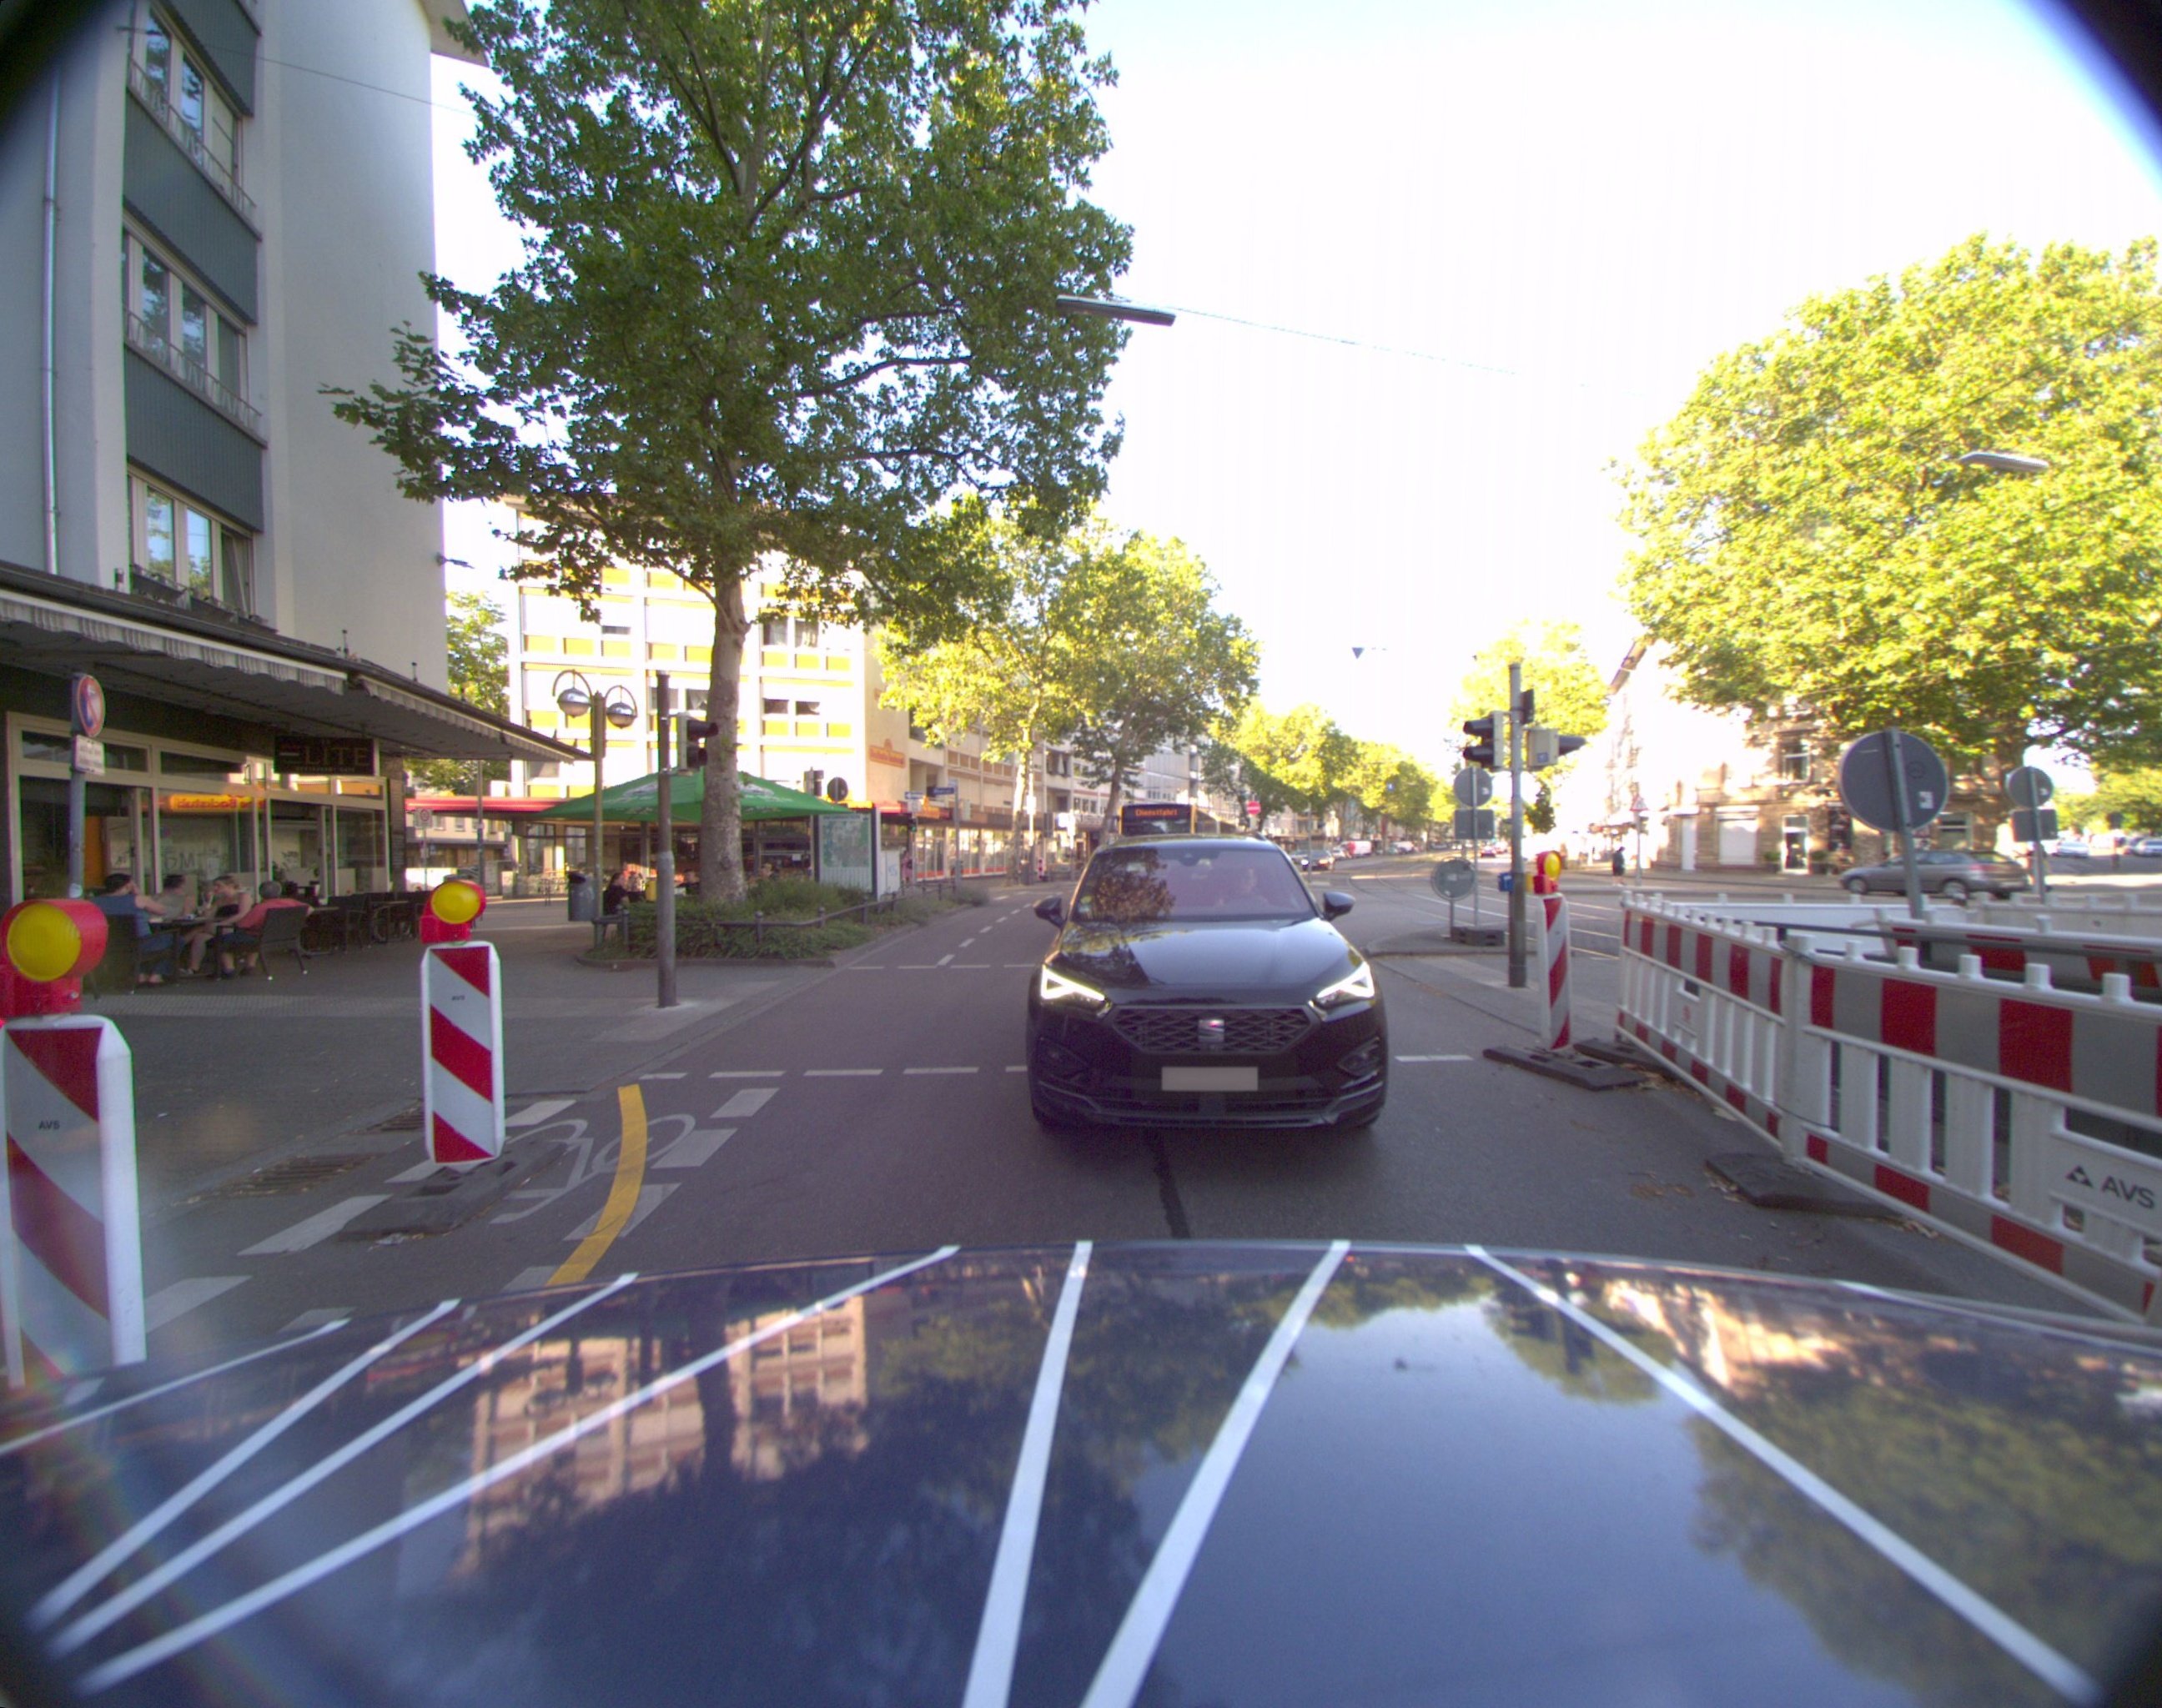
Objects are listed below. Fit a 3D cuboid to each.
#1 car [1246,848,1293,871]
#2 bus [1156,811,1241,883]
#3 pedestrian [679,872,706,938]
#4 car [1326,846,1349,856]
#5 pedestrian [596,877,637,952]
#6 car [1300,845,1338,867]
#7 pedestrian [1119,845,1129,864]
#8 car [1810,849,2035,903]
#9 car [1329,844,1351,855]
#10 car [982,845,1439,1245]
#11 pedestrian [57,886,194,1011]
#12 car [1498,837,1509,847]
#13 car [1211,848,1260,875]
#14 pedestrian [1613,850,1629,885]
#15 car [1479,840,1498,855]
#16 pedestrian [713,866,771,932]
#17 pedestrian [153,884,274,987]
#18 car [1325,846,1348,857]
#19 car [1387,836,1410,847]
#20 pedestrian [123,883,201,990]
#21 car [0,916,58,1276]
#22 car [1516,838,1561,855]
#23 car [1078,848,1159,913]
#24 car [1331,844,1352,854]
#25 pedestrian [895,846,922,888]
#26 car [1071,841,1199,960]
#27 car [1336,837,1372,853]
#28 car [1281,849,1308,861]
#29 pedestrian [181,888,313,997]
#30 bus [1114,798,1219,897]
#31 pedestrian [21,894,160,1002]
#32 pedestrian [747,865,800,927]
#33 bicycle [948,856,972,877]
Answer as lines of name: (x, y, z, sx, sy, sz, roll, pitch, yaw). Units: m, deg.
car: (13.712, 0.369, 55.008, 1.952, 1.541, 4.765, 0, 2, 31)
bus: (6.061, -0.347, 37.741, 2.749, 3.085, 9.508, 0, 1, 17)
pedestrian: (-7.414, 0.957, 14.496, 0.433, 1.212, 0.467, 0, 1, -29)
car: (34.055, -0.423, 100.949, 2.627, 1.274, 1.201, -1, 2, 3)
pedestrian: (-7.837, 1.009, 12.816, 0.469, 1.212, 0.431, -2, 1, -44)
car: (17.392, 0.129, 55.330, 1.952, 1.467, 4.764, 0, 2, 26)
pedestrian: (3.678, 0.028, 64.732, 0.658, 1.632, 0.660, 0, 1, 26)
car: (24.328, 0.553, 22.176, 1.887, 1.401, 3.992, -1, 1, -22)
car: (35.462, -0.635, 104.232, 2.627, 1.380, 1.201, -1, 2, 3)
car: (0.681, 0.798, 5.323, 1.848, 1.648, 4.300, -2, 0, 4)
pedestrian: (-10.223, 0.981, 8.161, 0.651, 1.244, 0.716, 0, 0, -24)
car: (89.130, -2.541, 160.243, 1.903, 1.893, 4.007, 0, 1, 29)
car: (9.472, 0.407, 46.341, 1.908, 1.467, 4.425, 0, 2, 26)
pedestrian: (20.198, 0.490, 28.425, 0.365, 1.301, 0.402, 0, 1, 18)
car: (53.575, -0.893, 99.816, 1.994, 1.856, 4.007, 0, 1, 31)
pedestrian: (-6.812, 0.884, 15.273, 0.718, 1.278, 0.769, -1, 1, 14)
pedestrian: (-10.695, 0.983, 9.392, 0.666, 1.211, 0.717, 0, 0, -5)
car: (32.906, -0.335, 97.848, 2.627, 1.274, 1.201, -1, 2, 3)
car: (64.321, -2.516, 153.877, 4.000, 2.002, 1.879, -1, 1, -8)
pedestrian: (-11.246, 0.984, 9.304, 0.519, 1.236, 0.553, 0, 0, 34)
car: (-5.152, 0.989, 1.437, 1.623, 1.457, 3.604, 2, 0, -2)
car: (52.209, -0.864, 86.707, 3.999, 1.904, 1.998, -1, 1, -7)
car: (1.099, 0.618, 20.162, 1.743, 1.492, 4.301, -2, 0, 7)
car: (36.709, -0.680, 107.056, 2.627, 1.338, 1.201, -1, 2, 3)
pedestrian: (-7.319, 0.533, 32.315, 0.748, 1.747, 0.903, 0, 1, 17)
car: (0.967, 0.637, 12.798, 1.743, 1.630, 4.300, -2, 0, 6)
car: (40.636, -1.343, 113.127, 4.868, 2.362, 1.878, -1, 2, -10)
car: (23.922, 0.124, 85.034, 2.629, 1.209, 1.200, -1, 2, -6)
pedestrian: (-9.850, 1.016, 9.012, 0.847, 1.191, 0.649, 0, 0, -22)
bus: (3.524, -0.234, 28.626, 2.750, 3.085, 9.506, 0, 1, 14)
pedestrian: (-11.089, 1.024, 8.536, 0.718, 1.123, 0.649, 1, 0, -24)
pedestrian: (-6.544, 0.881, 16.197, 0.718, 1.278, 0.769, -1, 1, 13)
bicycle: (-6.671, 0.691, 42.045, 0.528, 1.136, 1.976, -1, 1, 15)
